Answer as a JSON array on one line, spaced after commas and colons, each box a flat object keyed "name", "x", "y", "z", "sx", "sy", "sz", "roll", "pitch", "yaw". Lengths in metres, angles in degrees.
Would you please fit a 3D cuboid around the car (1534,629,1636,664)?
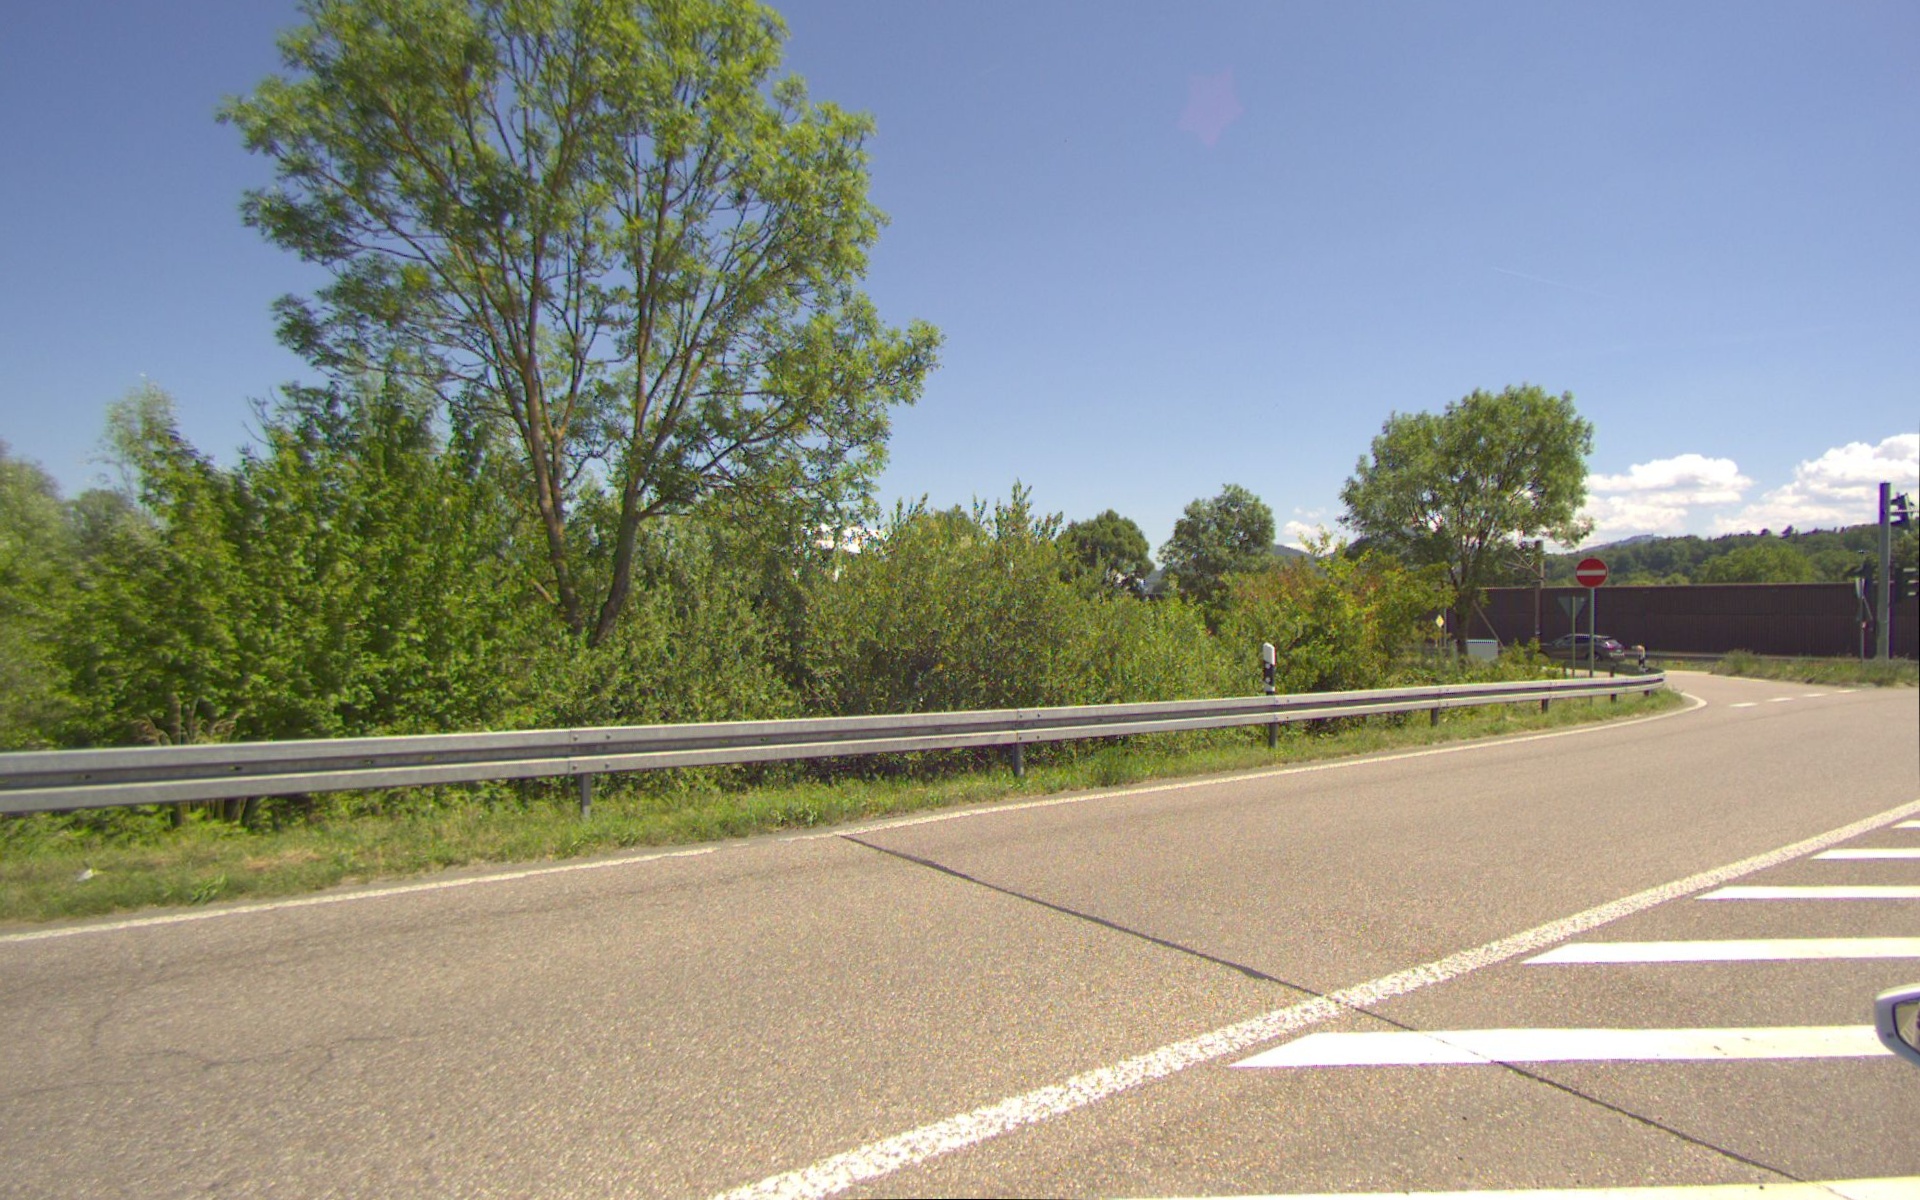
[{"name": "car", "x": 31.718, "y": 2.357, "z": 51.090, "sx": 1.978, "sy": 1.576, "sz": 3.966, "roll": 2, "pitch": -1, "yaw": -32}]
